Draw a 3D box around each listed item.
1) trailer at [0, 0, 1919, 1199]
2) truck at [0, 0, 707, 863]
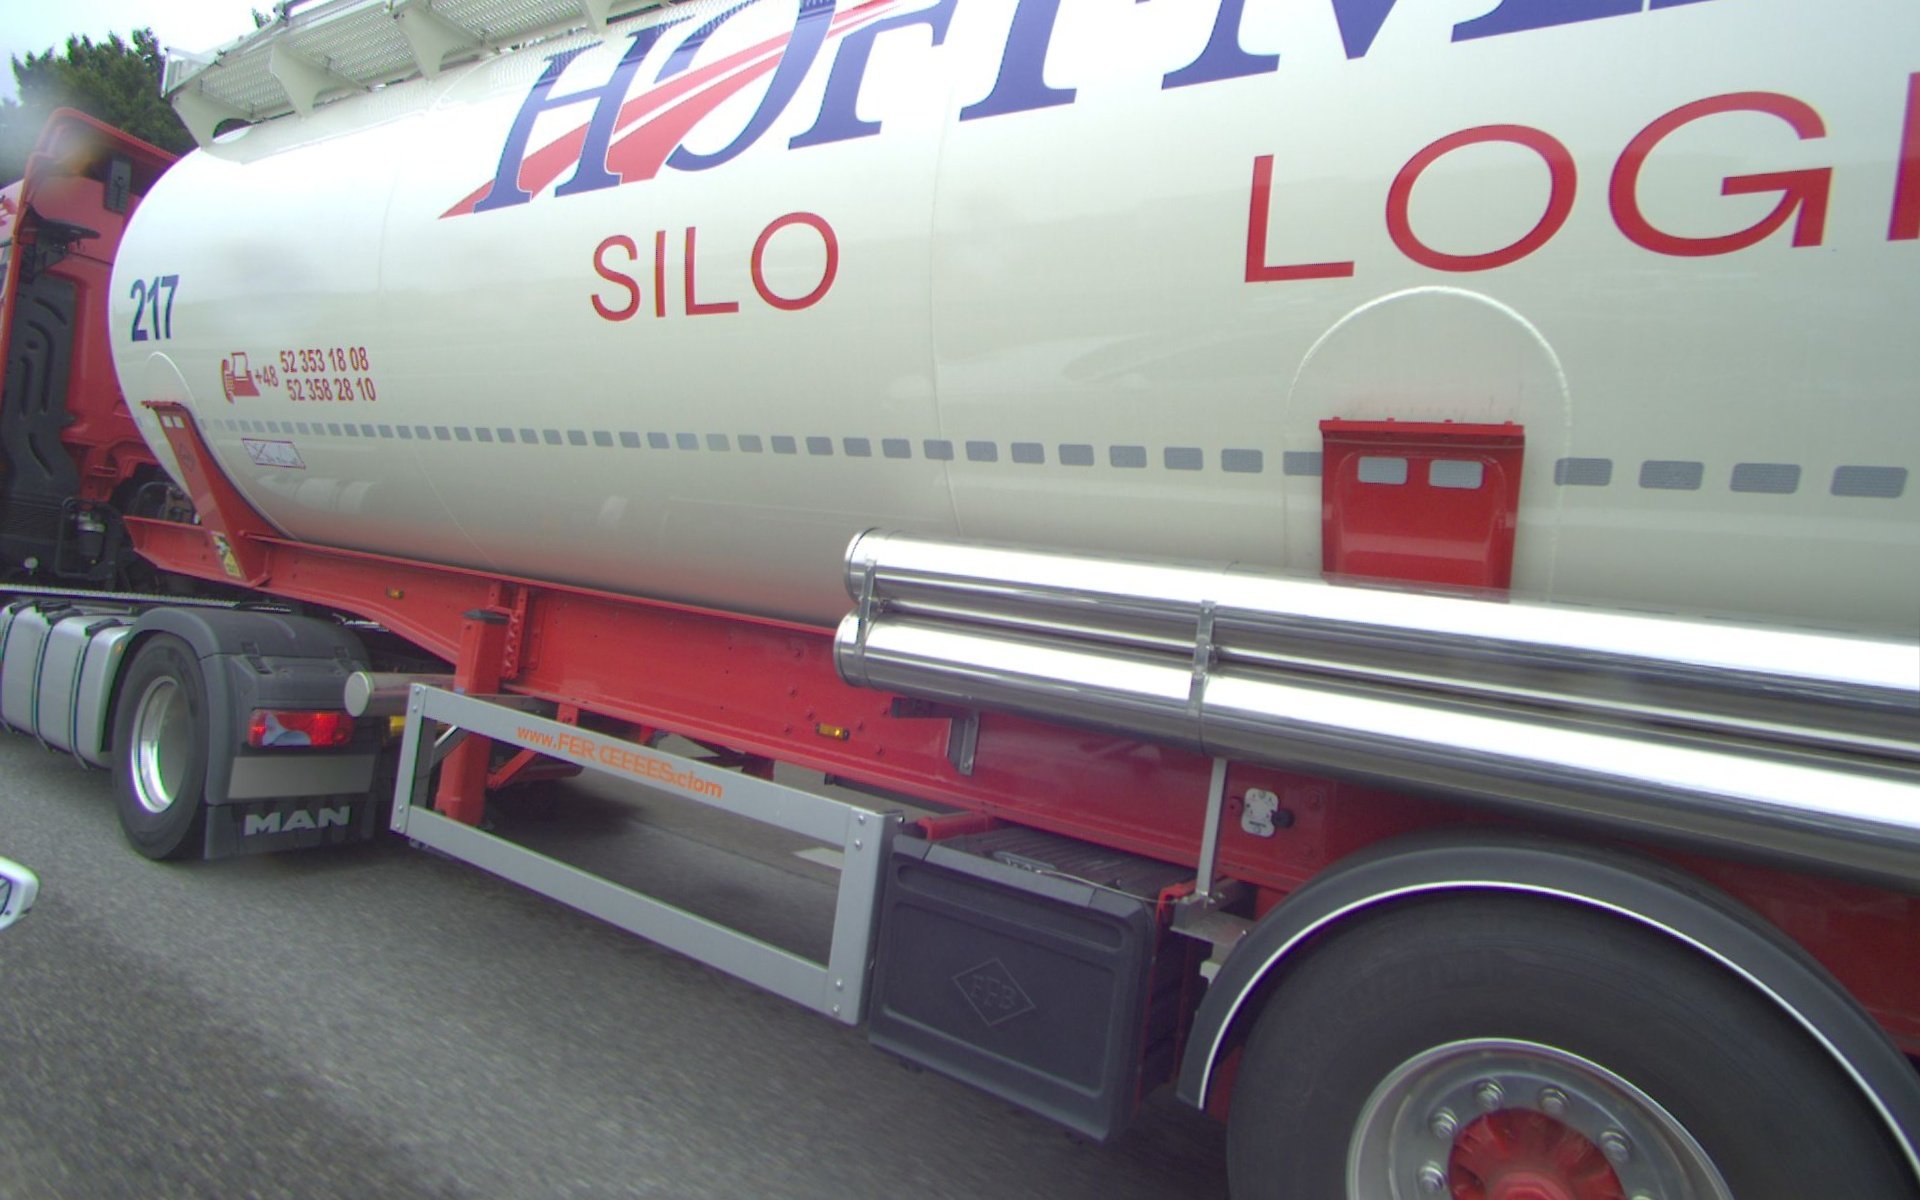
[{"bbox_3d":[0.742,-0.357,3.320,12.912,3.986,2.672,6,-1,32],"label":"trailer"},{"bbox_3d":[-5.303,-1.038,7.160,6.448,3.959,2.699,7,0,32],"label":"truck"}]
